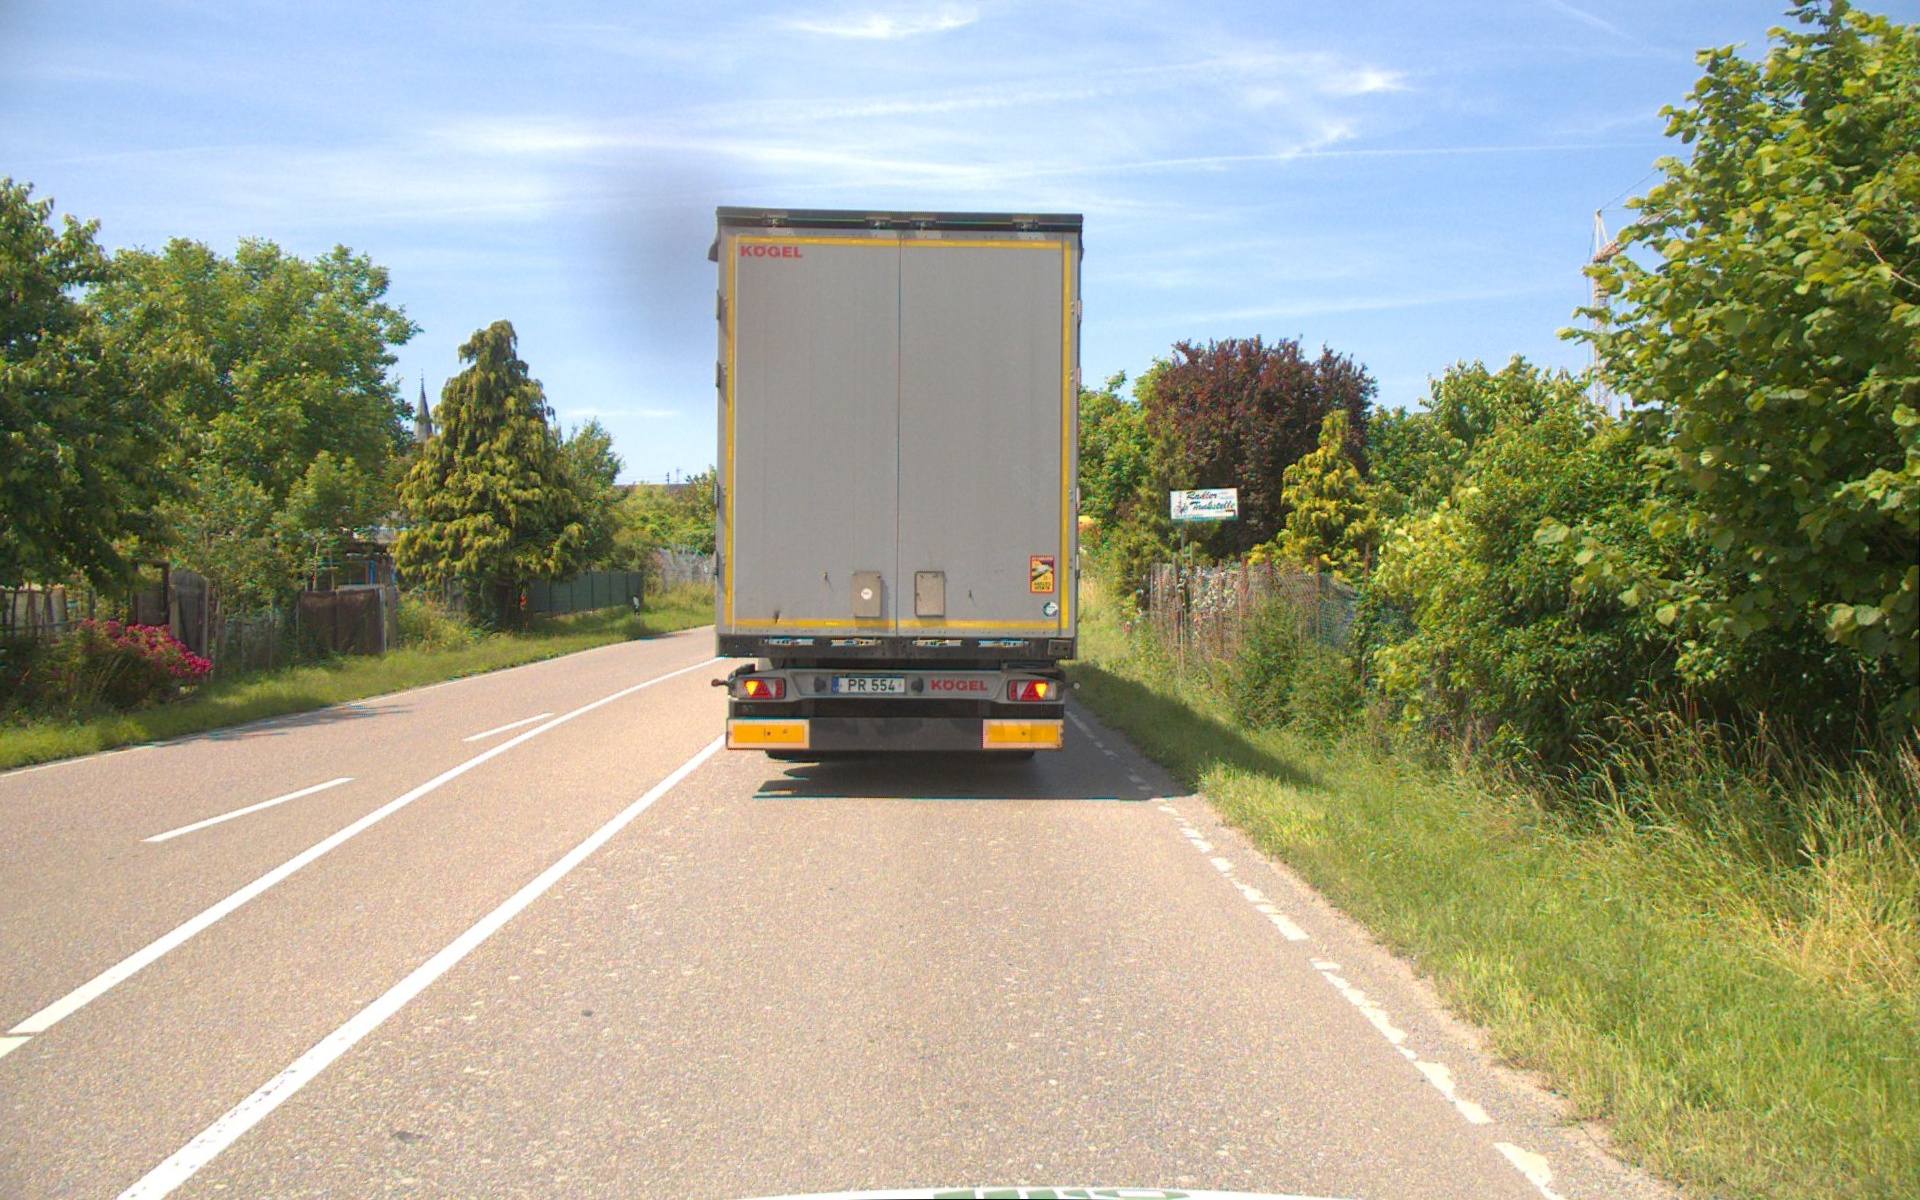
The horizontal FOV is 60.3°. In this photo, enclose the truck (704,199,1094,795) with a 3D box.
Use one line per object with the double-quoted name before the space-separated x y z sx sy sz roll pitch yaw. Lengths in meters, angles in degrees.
"truck" -0.603 -0.738 15.540 2.594 3.985 8.821 0 1 -3
